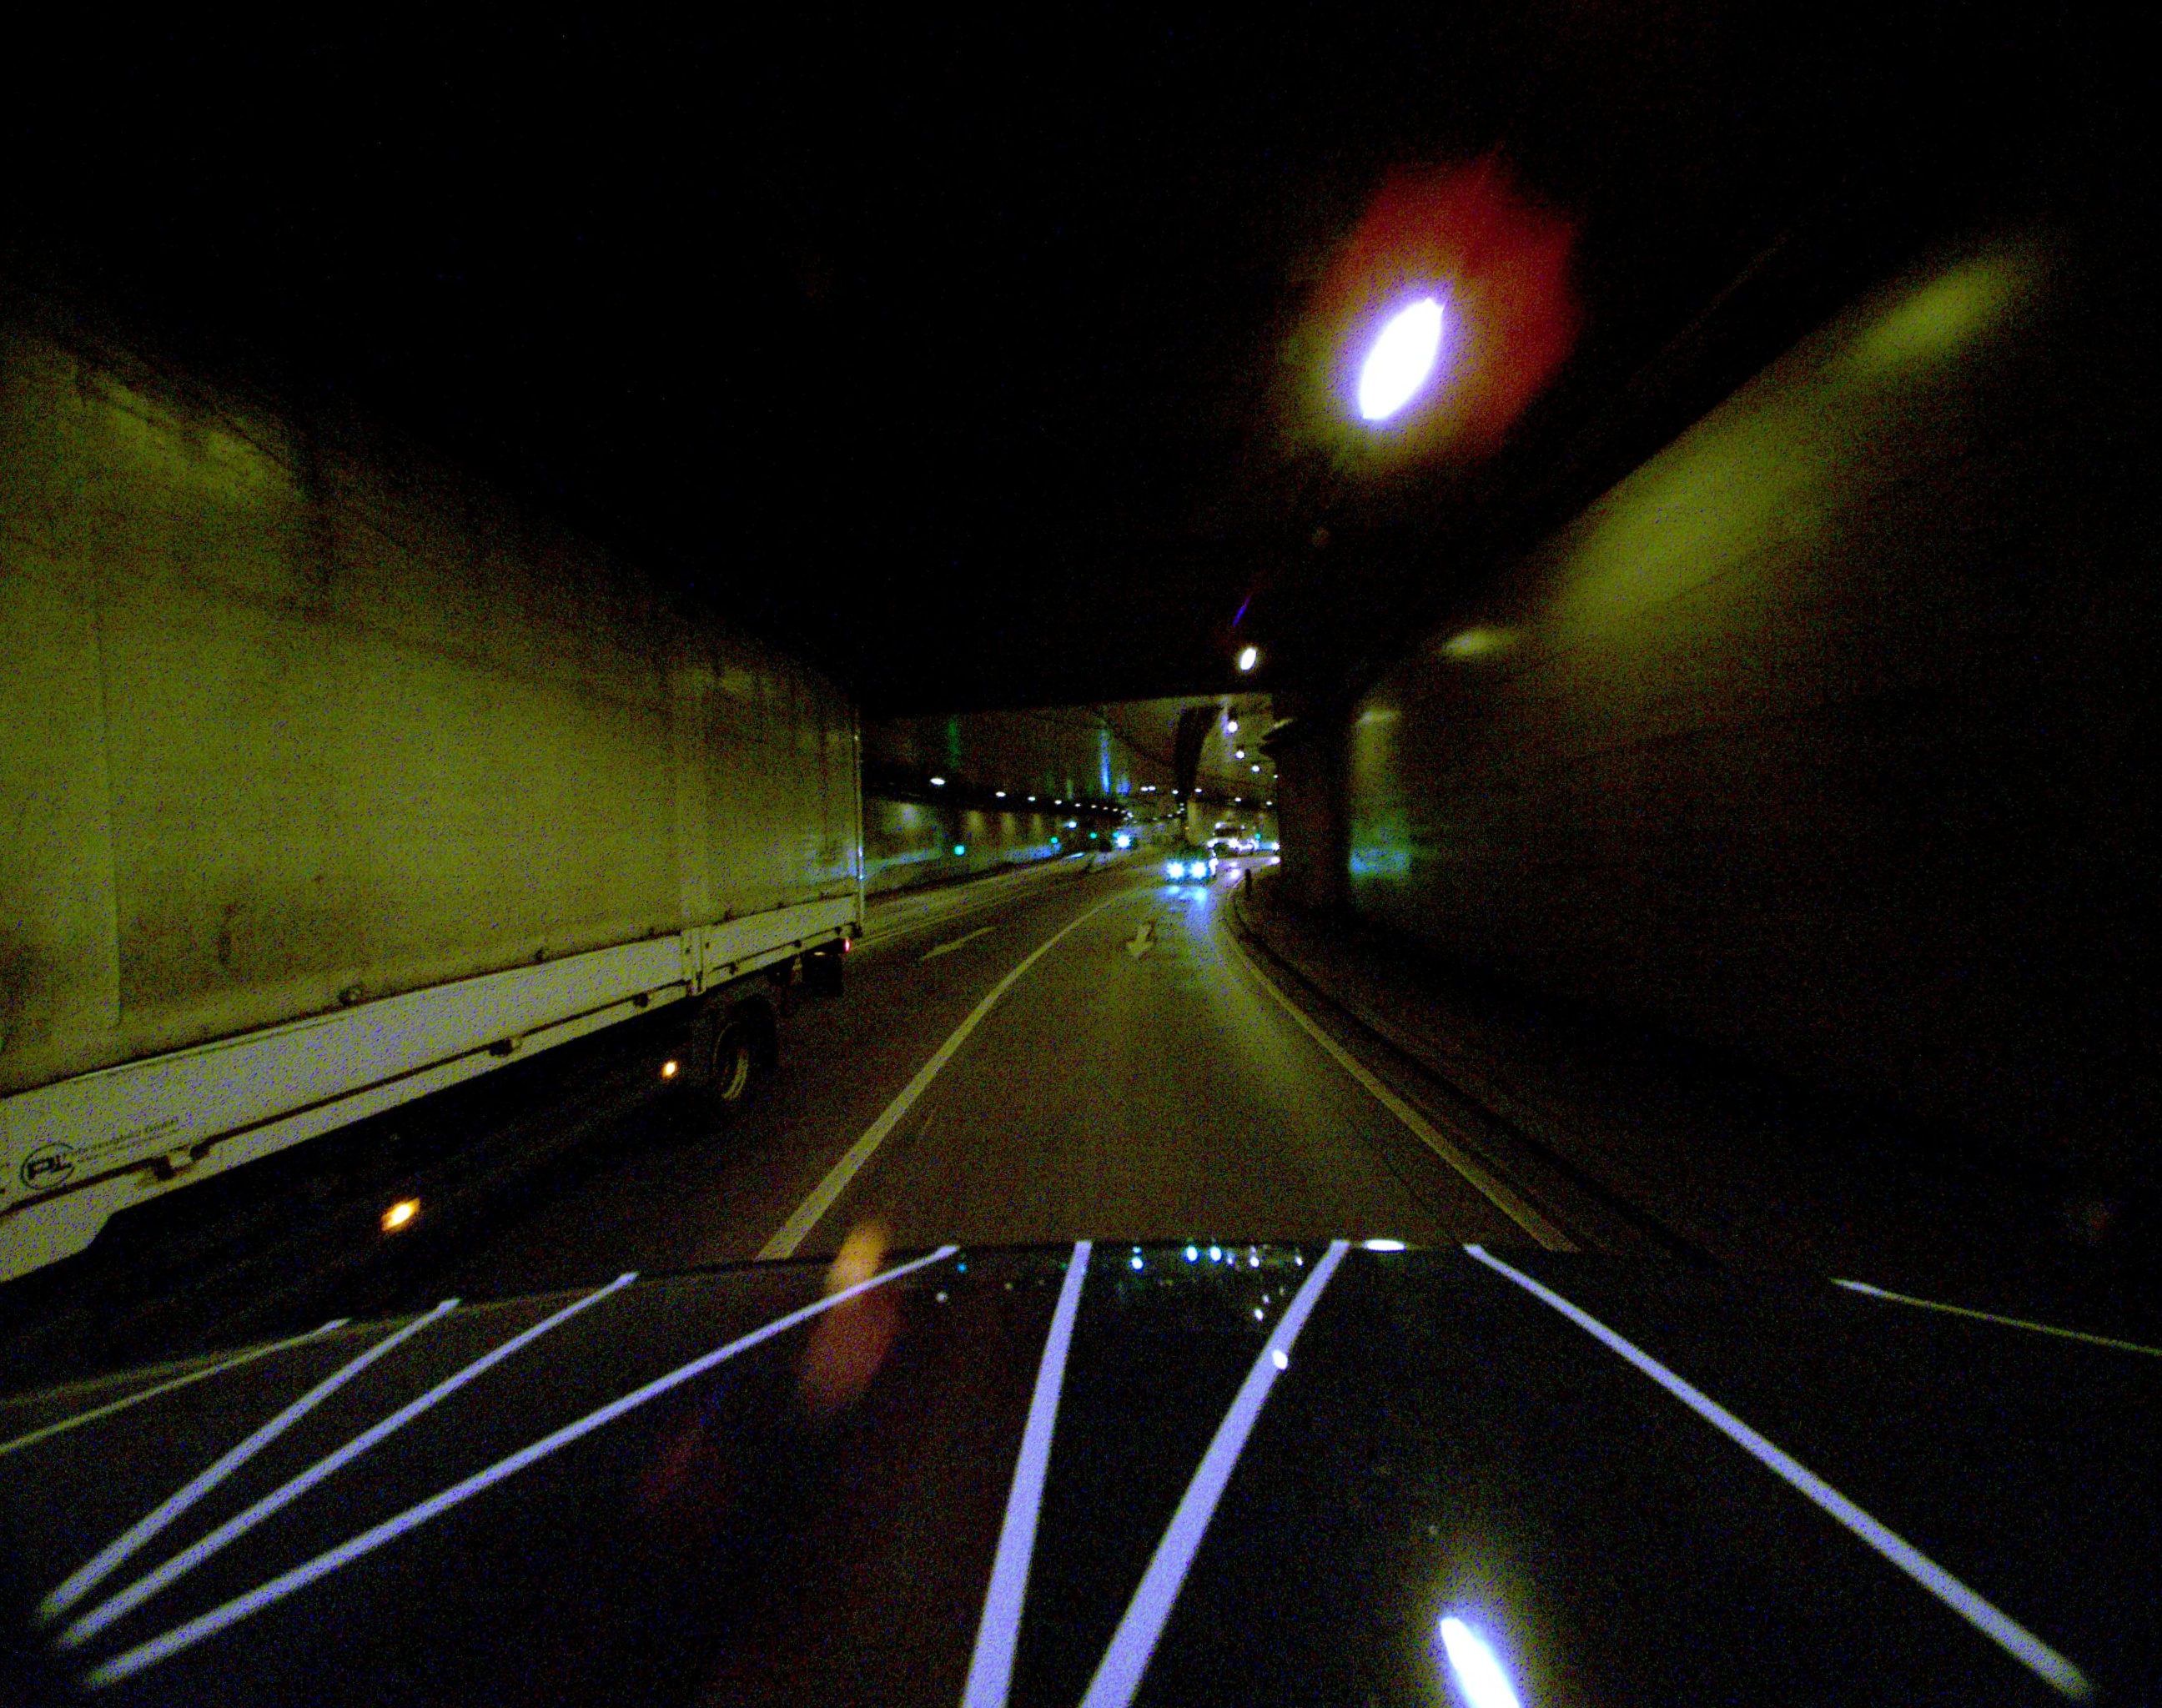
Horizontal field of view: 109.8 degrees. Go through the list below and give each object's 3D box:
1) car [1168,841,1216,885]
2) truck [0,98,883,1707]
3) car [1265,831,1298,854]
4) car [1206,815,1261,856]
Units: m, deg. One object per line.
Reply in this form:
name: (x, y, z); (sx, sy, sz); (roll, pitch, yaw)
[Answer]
car: (4.655, 0.331, 31.405); (1.637, 1.552, 3.718); (-1, 3, 13)
truck: (-3.205, 0.207, 3.087); (2.559, 3.162, 7.246); (-2, 0, 2)
car: (15.090, -0.880, 57.090); (1.762, 1.552, 3.824); (-4, 0, 24)
car: (11.459, -1.371, 56.588); (2.103, 2.831, 6.871); (-1, 2, 27)
